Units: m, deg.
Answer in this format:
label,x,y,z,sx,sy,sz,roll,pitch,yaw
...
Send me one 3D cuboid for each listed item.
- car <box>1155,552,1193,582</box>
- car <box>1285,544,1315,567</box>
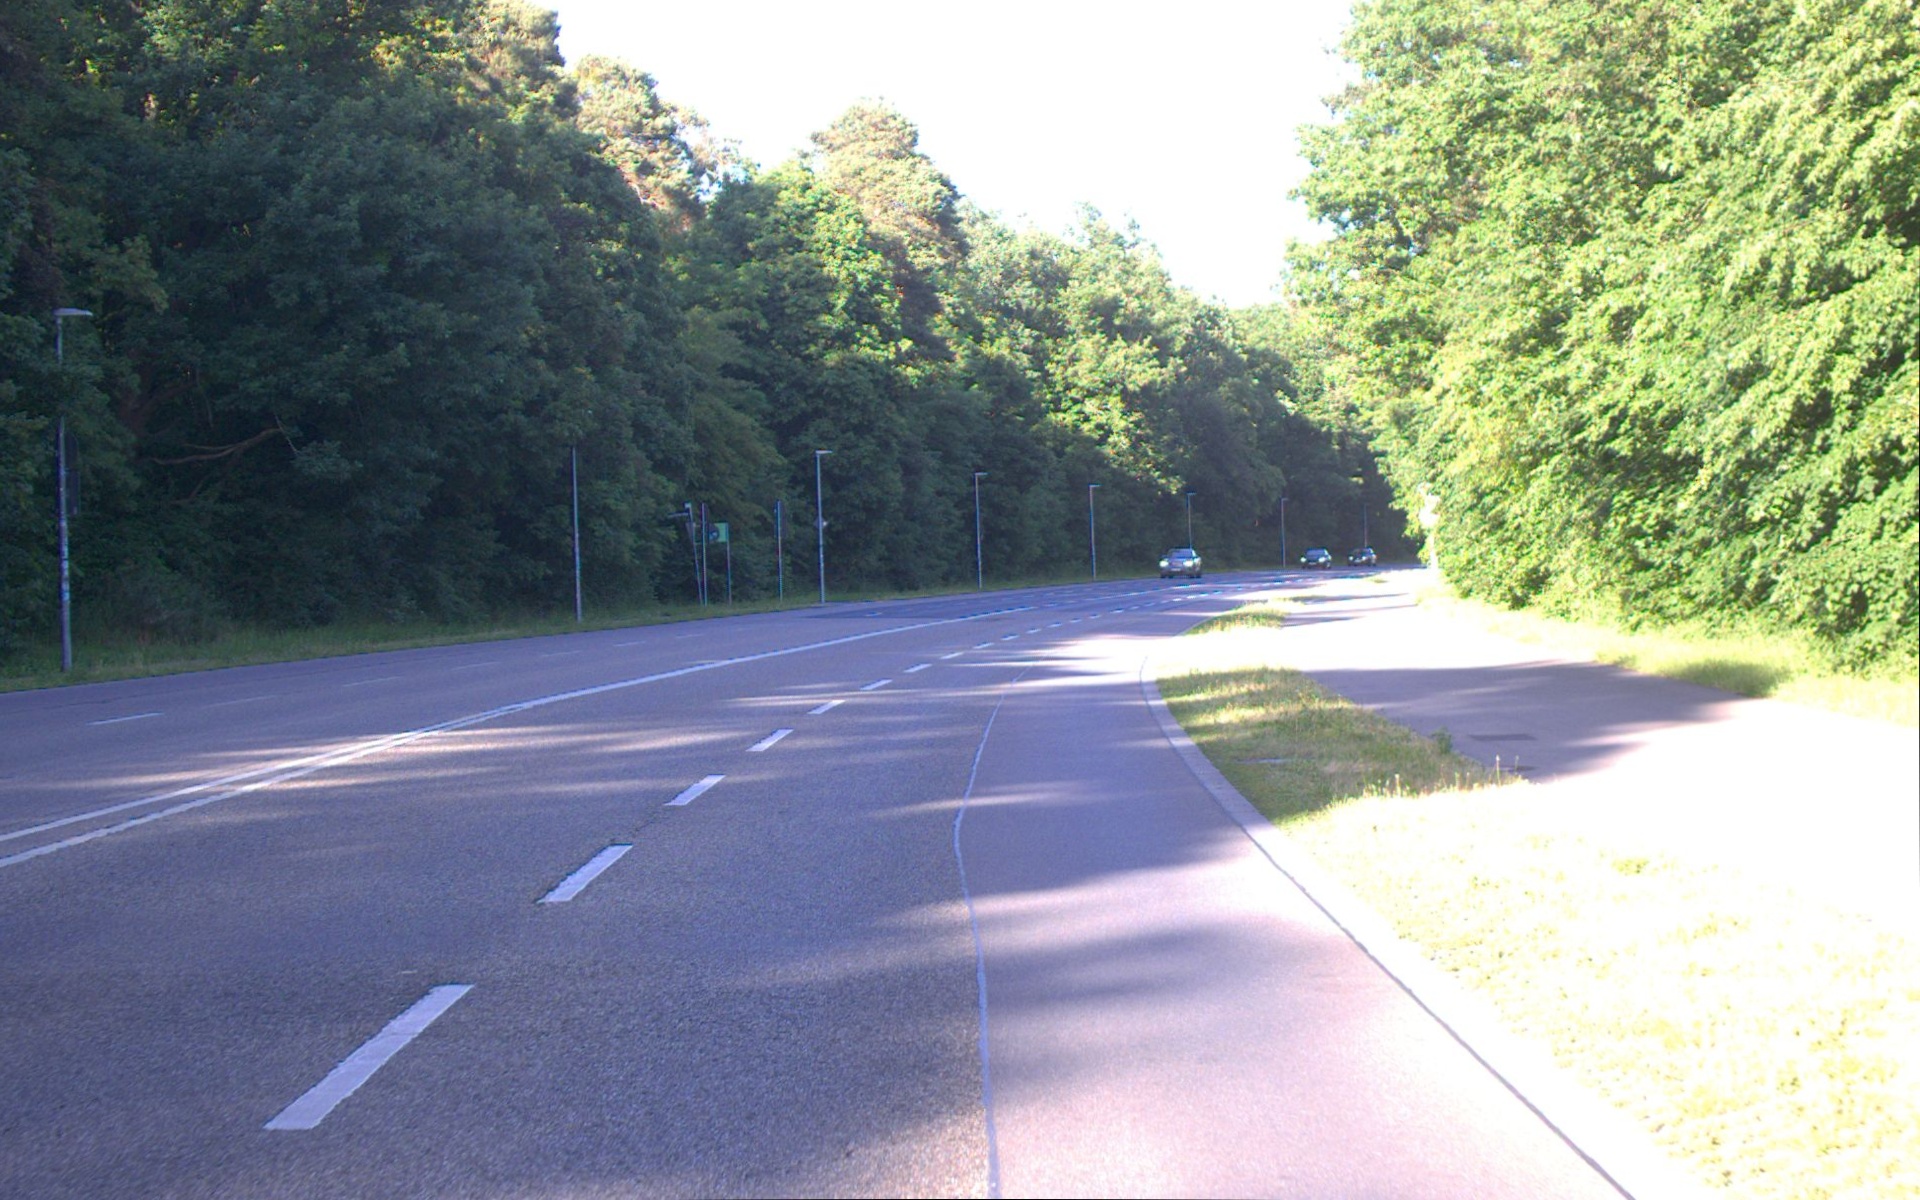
label,x,y,z,sx,sy,sz,roll,pitch,yaw
car,11.783,-1.834,189.579,1.994,1.579,4.000,0,0,3
car,24.475,-3.202,247.302,1.994,1.579,3.998,0,0,9
